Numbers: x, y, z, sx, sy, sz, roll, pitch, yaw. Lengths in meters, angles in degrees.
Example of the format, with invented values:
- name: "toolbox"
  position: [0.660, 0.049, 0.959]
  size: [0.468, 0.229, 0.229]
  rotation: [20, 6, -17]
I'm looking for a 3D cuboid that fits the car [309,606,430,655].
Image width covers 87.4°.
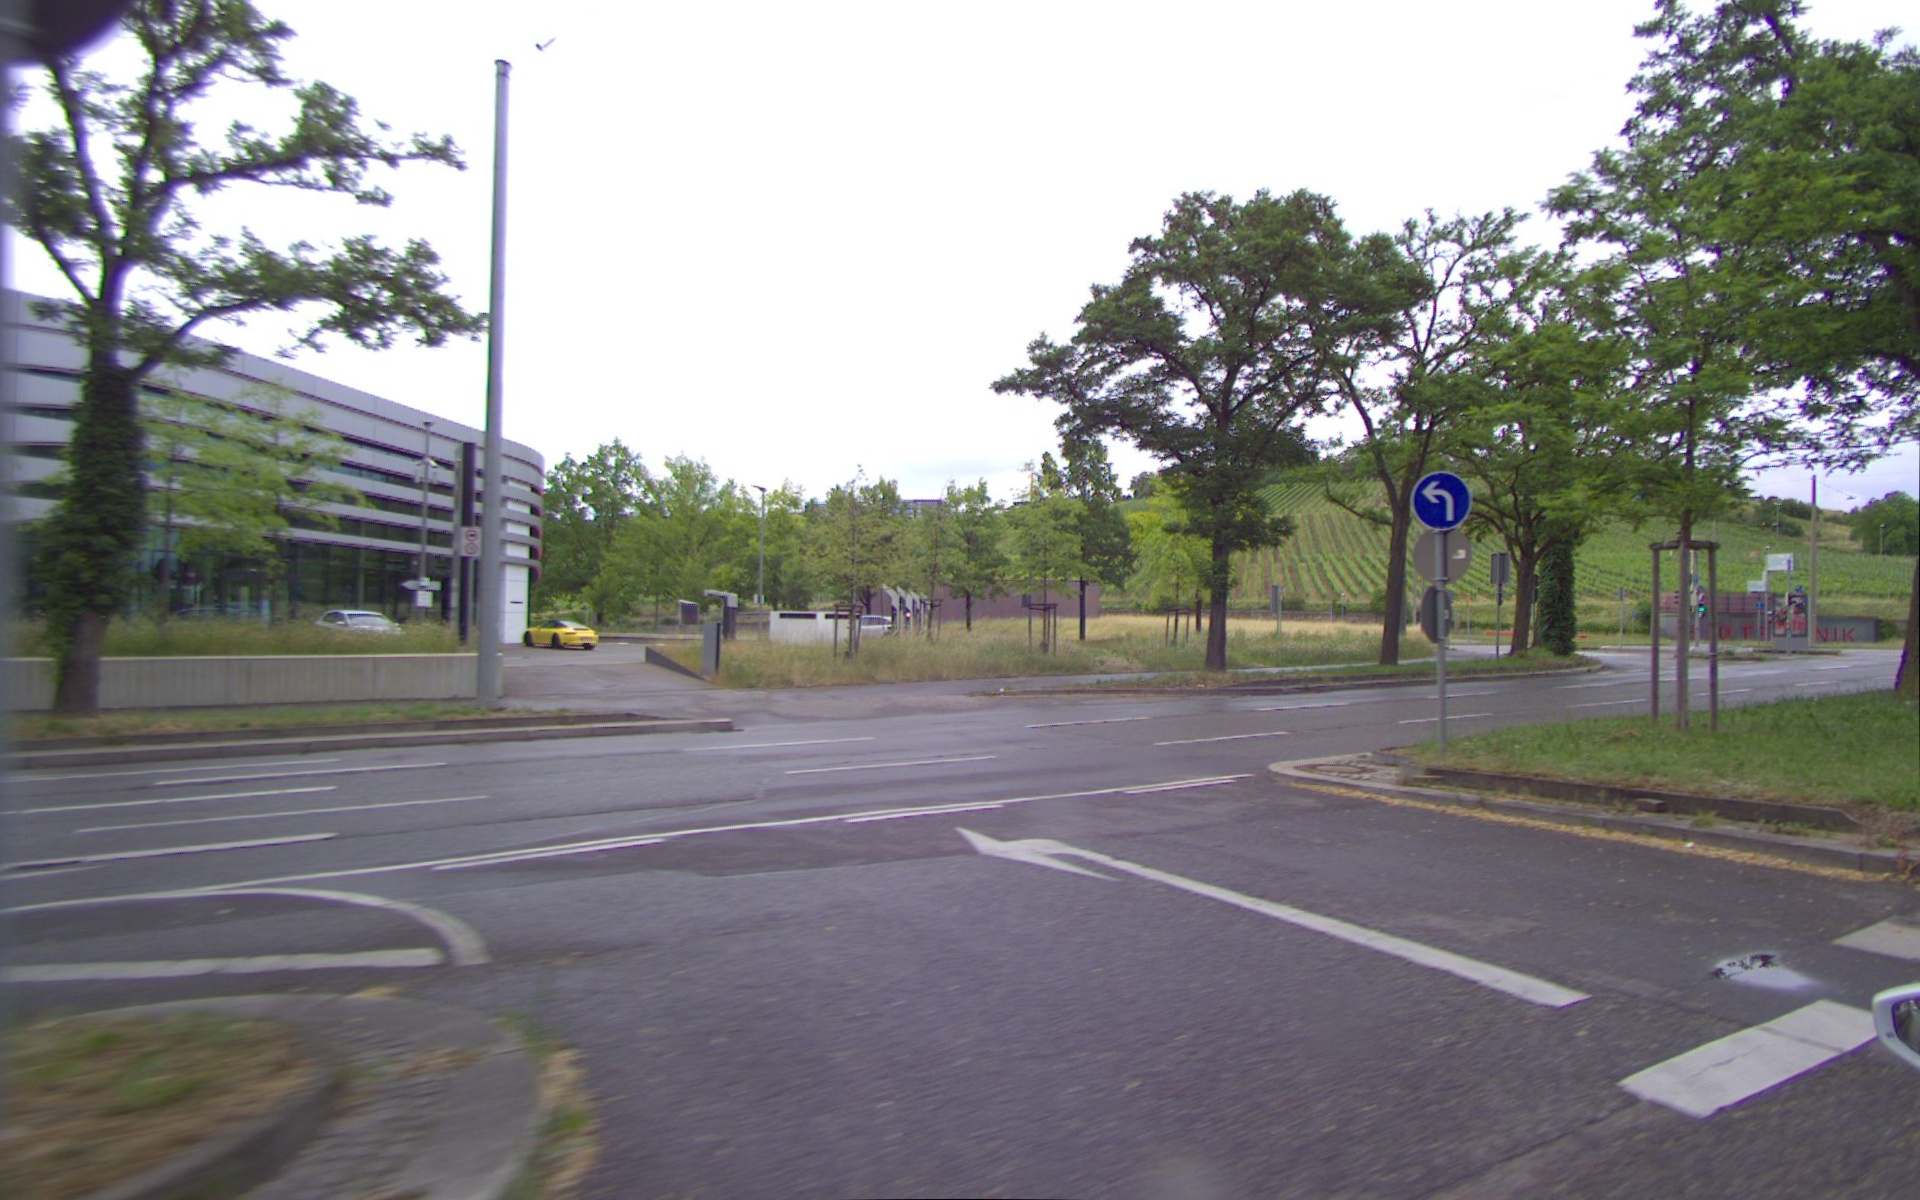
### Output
- name: "car"
  position: [-19.850, 0.980, 33.763]
  size: [3.928, 1.432, 1.775]
  rotation: [2, 1, 30]

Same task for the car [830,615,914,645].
- name: "car"
  position: [-4.284, 1.429, 48.392]
  size: [3.927, 1.261, 1.618]
  rotation: [2, 1, -8]

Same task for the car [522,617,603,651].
- name: "car"
  position: [-18.114, 1.508, 45.738]
  size: [3.936, 1.341, 1.614]
  rotation: [2, 1, 37]
